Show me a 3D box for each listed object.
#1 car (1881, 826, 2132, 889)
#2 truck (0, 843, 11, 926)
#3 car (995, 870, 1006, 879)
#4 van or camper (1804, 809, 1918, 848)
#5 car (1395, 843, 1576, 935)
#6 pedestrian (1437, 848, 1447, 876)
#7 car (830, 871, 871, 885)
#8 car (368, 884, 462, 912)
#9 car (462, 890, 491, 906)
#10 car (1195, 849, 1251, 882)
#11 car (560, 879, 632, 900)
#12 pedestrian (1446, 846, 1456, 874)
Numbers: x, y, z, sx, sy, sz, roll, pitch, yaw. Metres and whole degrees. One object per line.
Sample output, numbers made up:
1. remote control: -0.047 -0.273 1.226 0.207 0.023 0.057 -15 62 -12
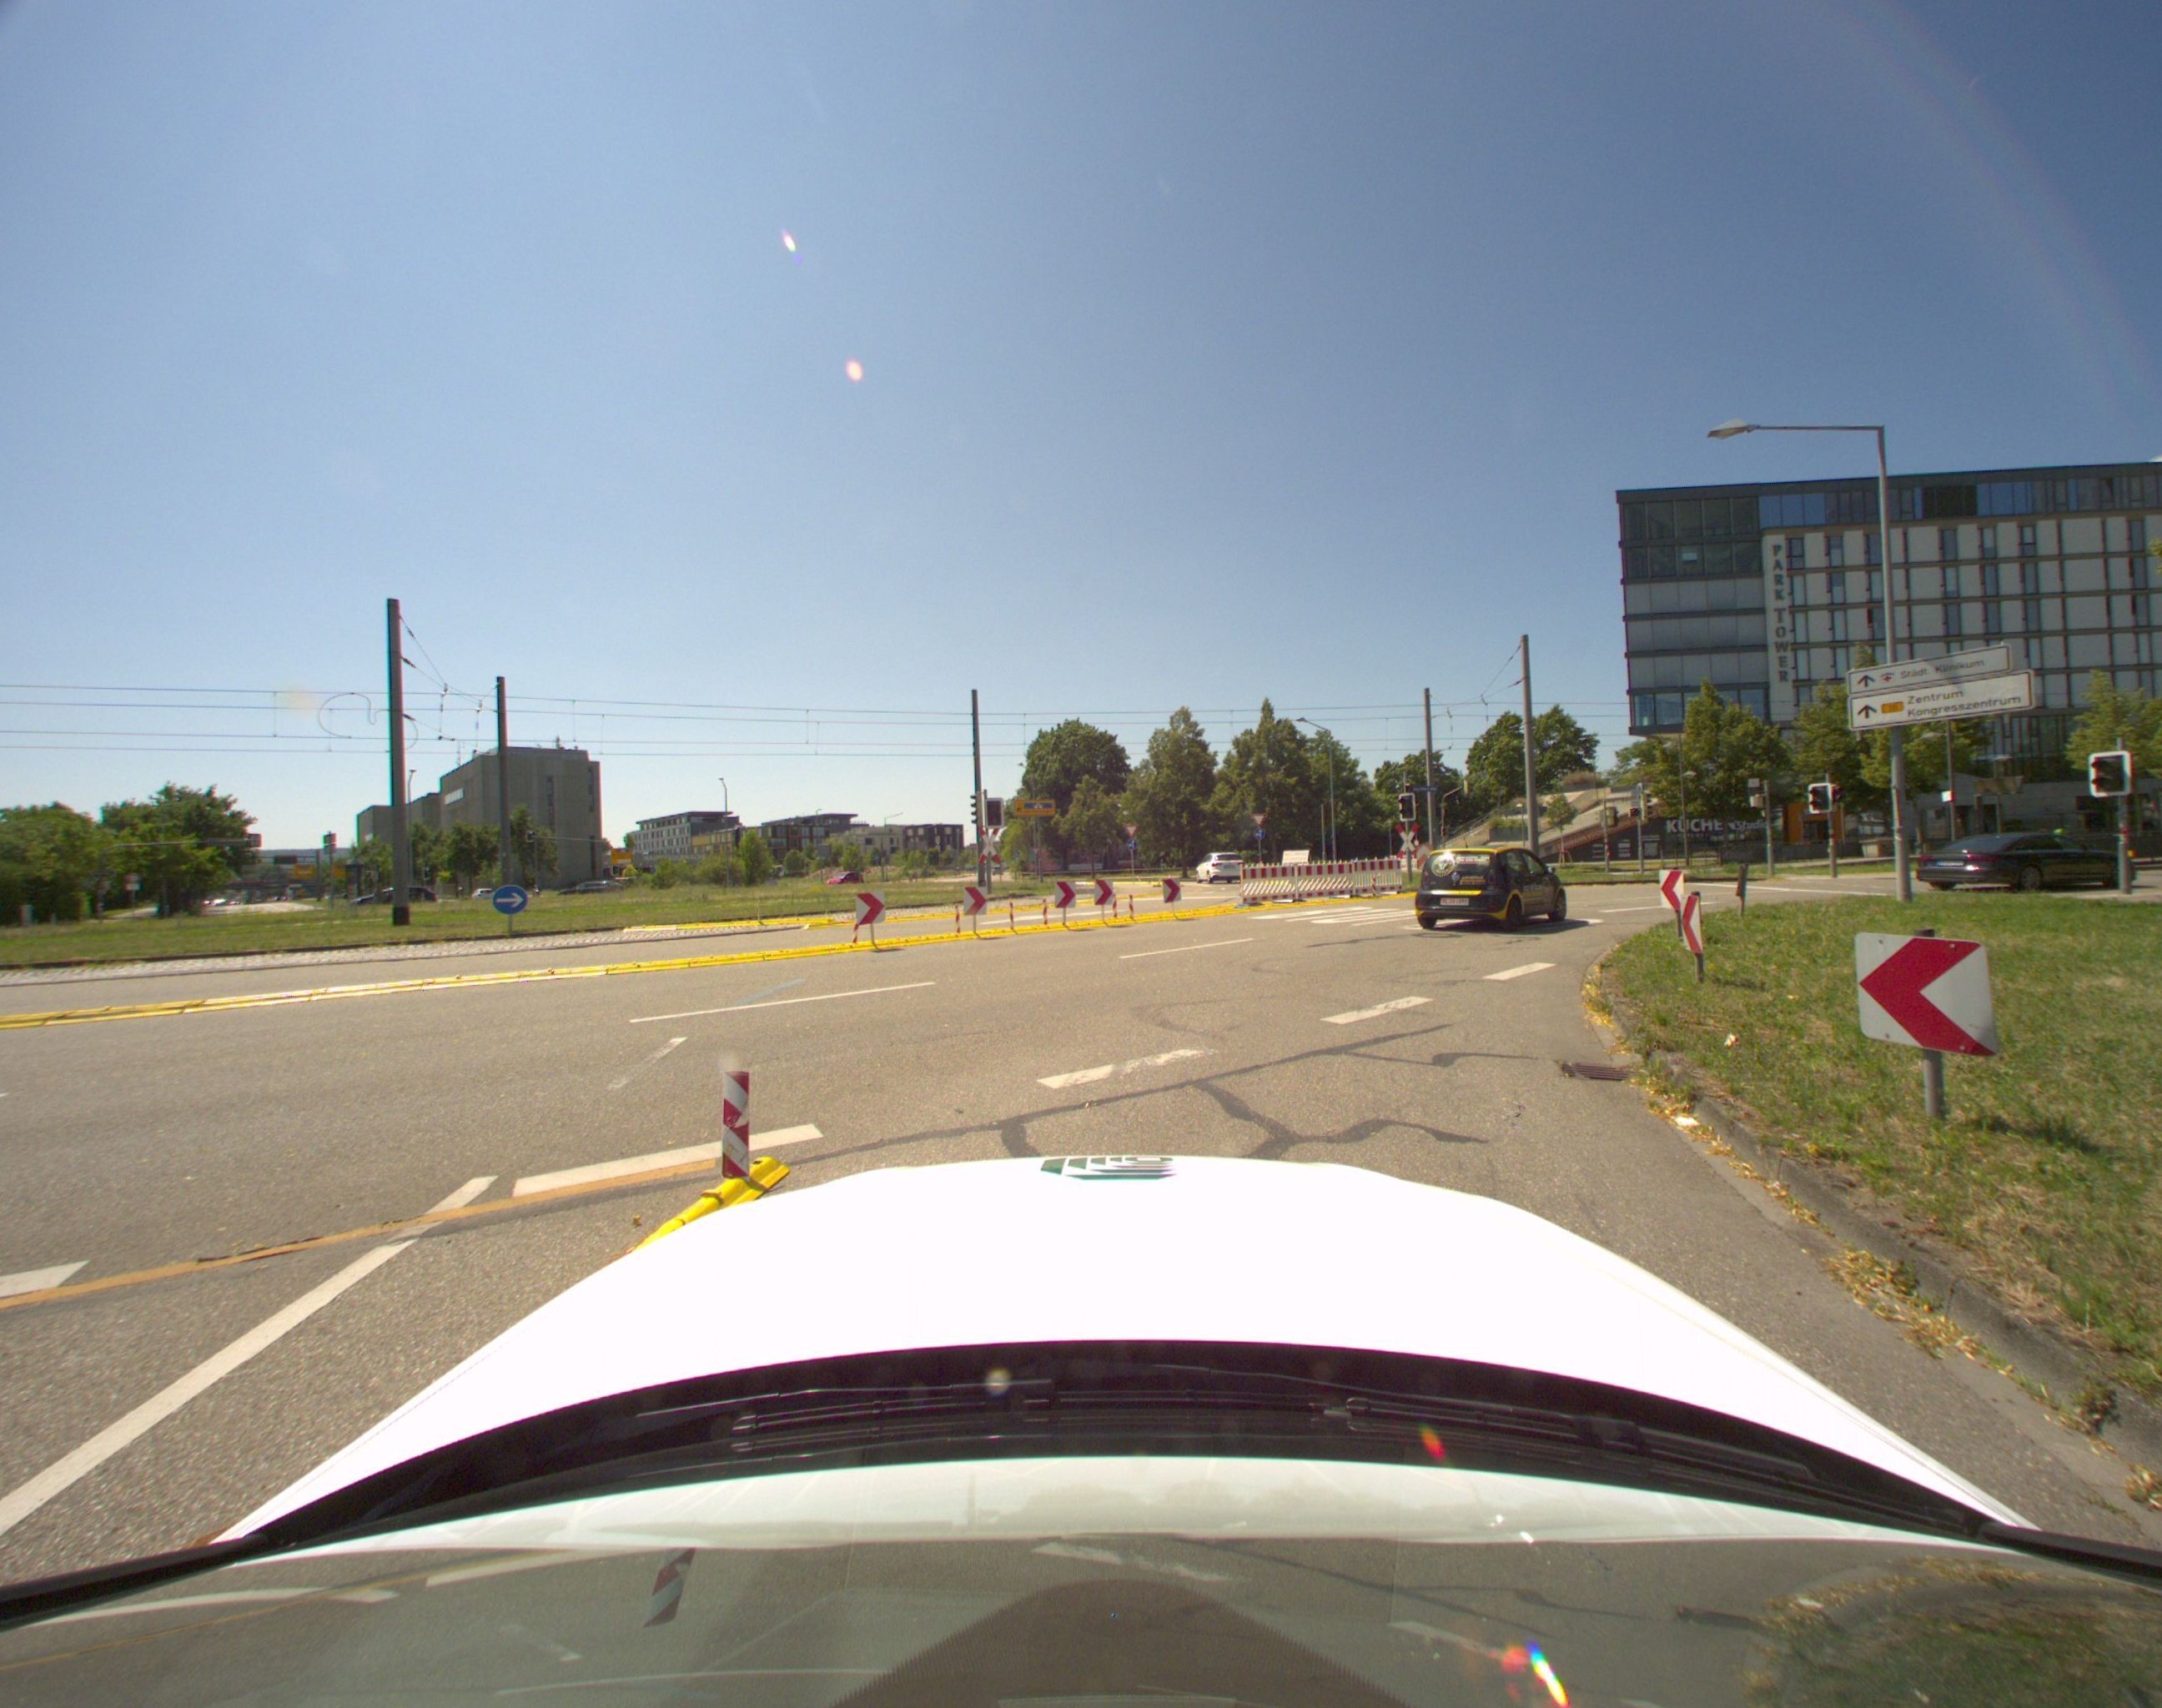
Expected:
1. car: 23.155 0.086 20.464 4.633 1.449 1.994 -1 -1 -9
2. truck: -50.545 1.438 32.139 2.675 3.659 9.667 -2 -1 22
3. car: -13.914 3.534 141.182 1.653 1.372 3.030 -2 -1 -1
4. van or camper: 61.247 -1.969 64.028 6.744 2.822 2.382 -2 -1 -1
5. car: 7.433 0.555 14.802 4.008 1.451 1.604 0 -1 -43
6. pedestrian: 22.635 0.514 51.023 0.446 1.739 0.291 -2 -1 1
7. car: -20.595 2.157 72.788 1.479 1.089 3.541 -2 0 26
8. car: -40.283 2.645 49.311 1.707 1.461 4.075 -2 -1 35
9. car: -65.227 4.720 87.808 2.011 1.618 3.950 1 -2 -44
10. car: 6.888 0.556 39.875 1.987 1.486 4.366 -2 -1 1
11. car: -37.363 2.711 62.848 4.486 1.319 1.985 -2 -1 -22
12. pedestrian: 23.191 0.347 51.035 0.446 1.739 0.318 -2 -1 1
